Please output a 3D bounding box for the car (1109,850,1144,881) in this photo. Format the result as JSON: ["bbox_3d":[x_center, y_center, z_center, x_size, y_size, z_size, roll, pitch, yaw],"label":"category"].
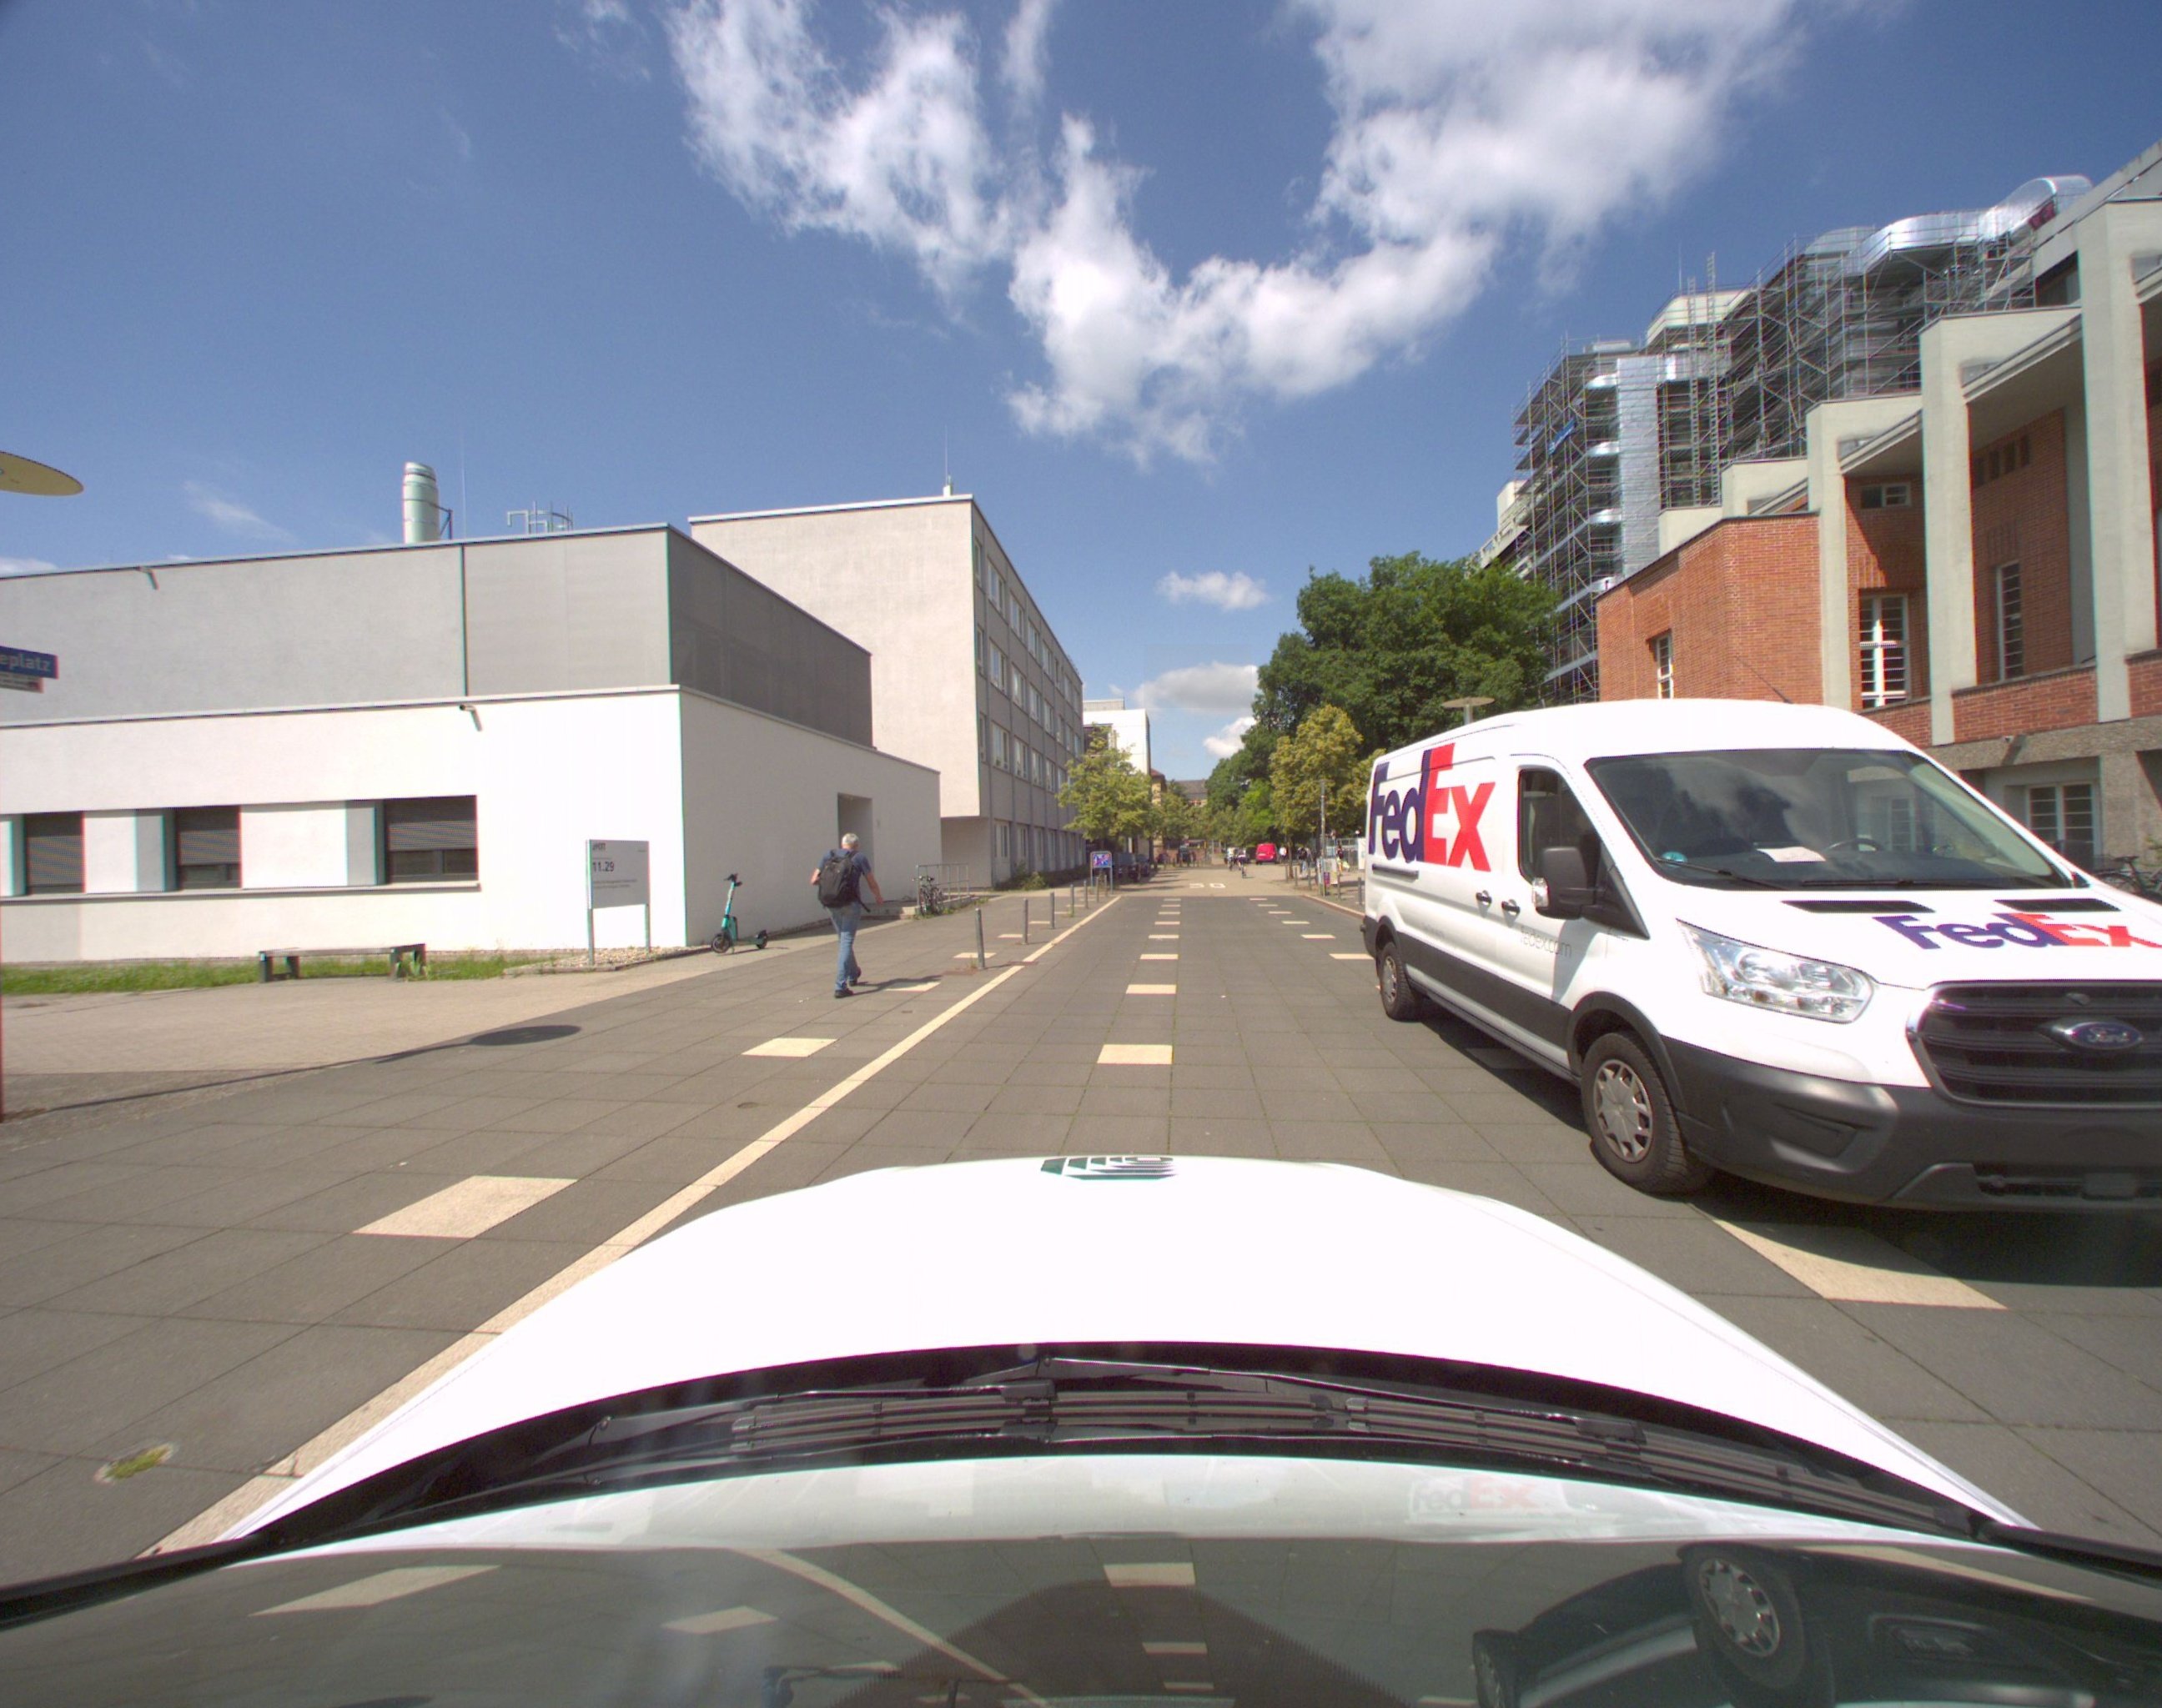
[{"bbox_3d":[2.527,0.579,44.327,1.688,1.564,4.074,-2,0,5],"label":"car"}]

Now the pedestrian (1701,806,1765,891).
[{"bbox_3d":[14.577,-0.112,18.228,0.660,1.834,0.907,-2,0,3],"label":"pedestrian"}]

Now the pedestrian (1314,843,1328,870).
[{"bbox_3d":[14.356,0.143,48.765,0.664,1.600,0.989,-3,0,13],"label":"pedestrian"}]

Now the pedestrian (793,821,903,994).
[{"bbox_3d":[-2.604,0.570,9.241,0.820,1.817,1.145,-2,0,2],"label":"pedestrian"}]

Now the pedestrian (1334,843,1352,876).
[{"bbox_3d":[13.513,0.263,41.994,0.645,1.666,0.907,-3,0,9],"label":"pedestrian"}]

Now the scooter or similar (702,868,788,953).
[{"bbox_3d":[-5.387,0.878,13.128,0.478,1.263,1.320,-2,0,19],"label":"scooter or similar"}]

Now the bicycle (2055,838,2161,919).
[{"bbox_3d":[15.355,0.340,11.847,1.674,1.110,0.436,-2,0,5],"label":"bicycle"}]

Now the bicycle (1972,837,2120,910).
[{"bbox_3d":[15.748,0.315,13.316,1.739,1.110,0.436,-2,0,5],"label":"bicycle"}]

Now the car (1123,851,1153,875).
[{"bbox_3d":[3.705,0.574,52.553,1.769,1.461,4.265,-1,0,5],"label":"car"}]

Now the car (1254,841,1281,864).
[{"bbox_3d":[16.524,-0.155,72.023,1.834,1.891,4.912,-3,0,17],"label":"car"}]

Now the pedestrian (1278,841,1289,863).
[{"bbox_3d":[17.157,-0.151,68.997,0.690,1.781,0.789,-3,0,8],"label":"pedestrian"}]

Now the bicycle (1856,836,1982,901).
[{"bbox_3d":[16.044,0.273,15.624,1.744,1.149,0.518,-2,0,5],"label":"bicycle"}]

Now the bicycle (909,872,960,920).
[{"bbox_3d":[-3.618,1.011,20.262,0.539,1.061,1.905,-2,0,12],"label":"bicycle"}]

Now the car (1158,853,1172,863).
[{"bbox_3d":[11.125,0.527,107.871,1.808,1.324,3.774,-2,0,6],"label":"car"}]

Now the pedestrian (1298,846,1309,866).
[{"bbox_3d":[21.448,0.187,78.615,0.725,1.821,0.624,-2,-1,-29],"label":"pedestrian"}]

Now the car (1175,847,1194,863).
[{"bbox_3d":[13.668,0.129,107.610,2.164,1.926,5.194,-2,0,5],"label":"car"}]

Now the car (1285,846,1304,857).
[{"bbox_3d":[32.079,-0.412,122.137,1.743,1.522,4.136,-2,0,28],"label":"car"}]

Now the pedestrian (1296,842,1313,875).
[{"bbox_3d":[11.766,0.215,42.935,0.639,1.697,0.793,-2,0,2],"label":"pedestrian"}]

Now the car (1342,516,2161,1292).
[{"bbox_3d":[3.560,0.155,5.610,2.049,2.543,5.858,-2,0,5],"label":"car"}]

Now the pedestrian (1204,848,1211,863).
[{"bbox_3d":[15.068,0.225,96.875,0.579,1.764,0.916,-2,0,21],"label":"pedestrian"}]

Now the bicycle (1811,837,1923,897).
[{"bbox_3d":[16.070,0.269,16.675,1.744,1.149,0.436,-2,0,5],"label":"bicycle"}]

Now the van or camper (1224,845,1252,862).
[{"bbox_3d":[19.057,-0.057,98.651,1.935,1.923,5.453,-1,0,27],"label":"van or camper"}]

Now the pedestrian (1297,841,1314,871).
[{"bbox_3d":[13.651,0.109,49.462,0.844,1.764,0.718,-3,0,10],"label":"pedestrian"}]
